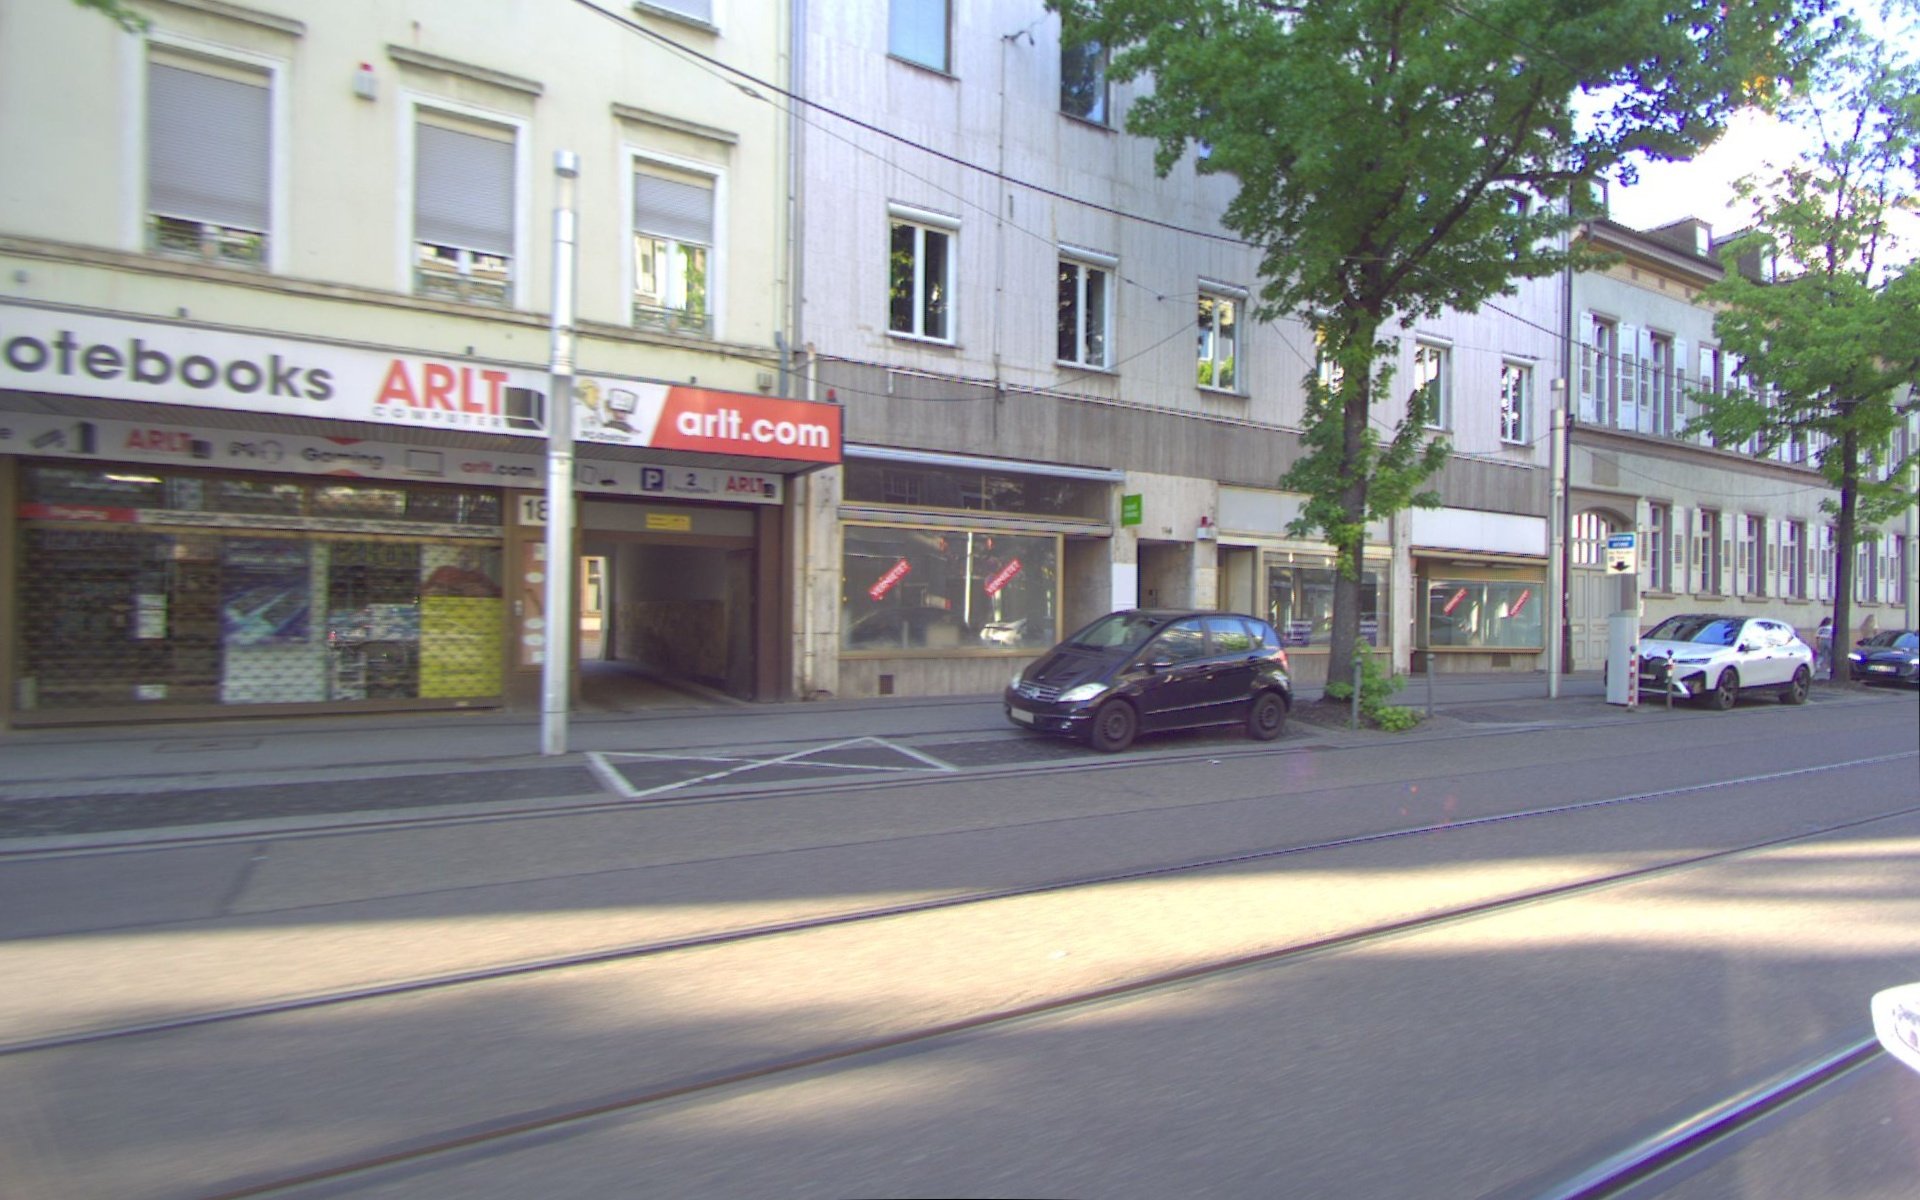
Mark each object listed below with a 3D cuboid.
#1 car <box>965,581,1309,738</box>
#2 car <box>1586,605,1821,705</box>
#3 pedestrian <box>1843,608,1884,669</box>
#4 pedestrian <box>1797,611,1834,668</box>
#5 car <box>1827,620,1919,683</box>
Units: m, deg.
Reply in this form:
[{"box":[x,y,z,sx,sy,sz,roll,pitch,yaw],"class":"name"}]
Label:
[{"box":[2.280,0.693,12.879,3.952,1.662,1.953,2,2,-29],"class":"car"},{"box":[14.810,1.055,19.956,4.755,1.662,1.952,2,3,-30],"class":"car"},{"box":[26.433,1.124,29.386,0.648,1.744,0.683,1,1,-30],"class":"pedestrian"},{"box":[26.054,1.208,30.604,0.640,1.702,0.671,1,0,-30],"class":"pedestrian"},{"box":[24.370,1.309,25.781,4.795,1.431,1.950,2,0,-33],"class":"car"}]
